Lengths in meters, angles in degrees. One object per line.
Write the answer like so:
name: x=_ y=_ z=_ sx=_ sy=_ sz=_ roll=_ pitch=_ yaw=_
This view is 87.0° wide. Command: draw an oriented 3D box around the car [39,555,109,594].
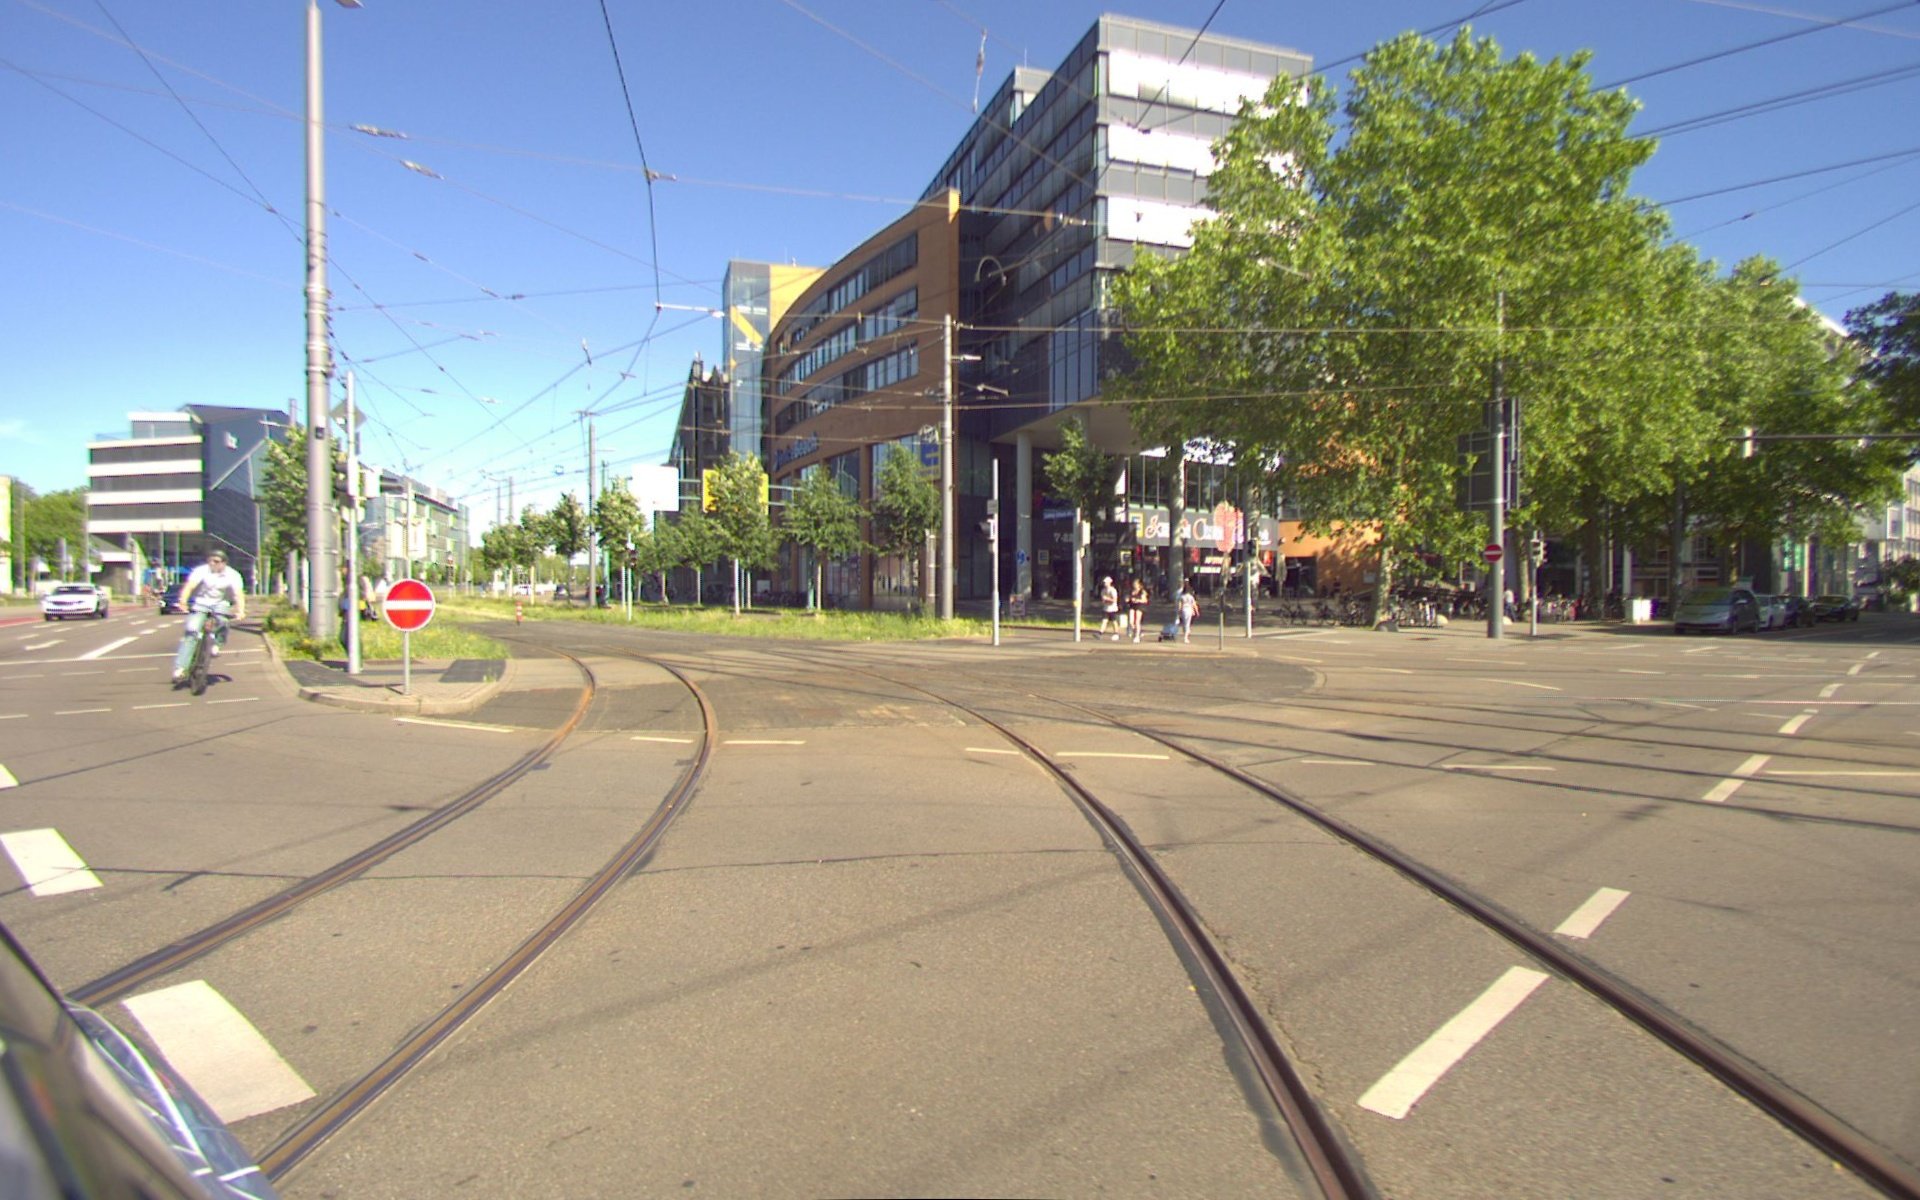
car: x=-40.012 y=-1.173 z=45.807 sx=1.843 sy=1.642 sz=4.350 roll=0 pitch=2 yaw=-34

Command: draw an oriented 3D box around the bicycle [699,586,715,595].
bicycle: x=-23.562 y=-0.908 z=94.348 sx=1.426 sy=0.825 sz=0.447 roll=0 pitch=1 yaw=-25

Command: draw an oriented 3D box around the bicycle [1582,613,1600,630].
bicycle: x=29.848 y=1.013 z=47.863 sx=0.445 sy=0.788 sz=1.473 roll=1 pitch=1 yaw=44

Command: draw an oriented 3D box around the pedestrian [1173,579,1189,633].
pedestrian: x=7.620 y=0.204 z=34.902 sx=0.455 sy=1.845 sz=0.459 roll=1 pitch=0 yaw=18

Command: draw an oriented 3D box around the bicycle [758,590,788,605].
bicycle: x=-14.152 y=-0.183 z=76.711 sx=2.142 sy=1.131 sz=0.756 roll=0 pitch=1 yaw=-25

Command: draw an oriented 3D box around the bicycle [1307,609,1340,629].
bicycle: x=14.509 y=0.748 z=40.340 sx=2.000 sy=0.805 sz=0.376 roll=0 pitch=1 yaw=-44

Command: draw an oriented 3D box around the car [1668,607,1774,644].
car: x=27.945 y=0.896 z=37.125 sx=3.934 sy=1.240 sz=2.005 roll=0 pitch=1 yaw=-35

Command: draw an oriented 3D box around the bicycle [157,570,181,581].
bicycle: x=-74.834 y=-2.272 z=95.742 sx=1.678 sy=0.961 sz=0.699 roll=2 pitch=-1 yaw=-20

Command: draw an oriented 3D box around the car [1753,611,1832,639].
car: x=37.754 y=1.110 z=45.875 sx=3.934 sy=1.152 sz=1.786 roll=0 pitch=1 yaw=-36

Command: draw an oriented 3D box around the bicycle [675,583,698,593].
bicycle: x=-26.927 y=-1.164 z=99.547 sx=2.142 sy=0.961 sz=0.494 roll=0 pitch=1 yaw=-25

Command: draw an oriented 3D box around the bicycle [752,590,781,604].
bicycle: x=-15.385 y=-0.237 z=80.459 sx=2.142 sy=1.131 sz=0.756 roll=0 pitch=1 yaw=-25

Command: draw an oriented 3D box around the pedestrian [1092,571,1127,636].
pedestrian: x=4.272 y=0.092 z=28.943 sx=0.750 sy=1.845 sz=0.626 roll=1 pitch=0 yaw=-29

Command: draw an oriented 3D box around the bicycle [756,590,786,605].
bicycle: x=-14.686 y=-0.206 z=78.562 sx=2.142 sy=1.131 sz=0.756 roll=0 pitch=1 yaw=-25

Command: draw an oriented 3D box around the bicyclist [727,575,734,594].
bicyclist: x=-16.860 y=-1.116 z=74.348 sx=0.336 sy=1.387 sz=0.483 roll=1 pitch=2 yaw=-35

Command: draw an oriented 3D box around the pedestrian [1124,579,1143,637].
pedestrian: x=5.570 y=0.250 z=32.472 sx=0.494 sy=1.845 sz=0.579 roll=1 pitch=0 yaw=18

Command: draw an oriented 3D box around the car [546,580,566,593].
car: x=-42.210 y=-1.392 z=105.627 sx=1.408 sy=1.370 sz=3.305 roll=1 pitch=1 yaw=-32

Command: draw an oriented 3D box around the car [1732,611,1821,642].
car: x=32.798 y=1.047 z=40.645 sx=3.934 sy=1.152 sz=1.786 roll=0 pitch=1 yaw=-36

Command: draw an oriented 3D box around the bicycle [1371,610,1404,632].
bicycle: x=16.194 y=0.798 z=38.341 sx=2.000 sy=0.805 sz=0.376 roll=0 pitch=1 yaw=-44

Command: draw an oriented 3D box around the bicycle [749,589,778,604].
bicycle: x=-15.845 y=-0.285 z=81.523 sx=2.142 sy=1.131 sz=0.756 roll=0 pitch=1 yaw=-25

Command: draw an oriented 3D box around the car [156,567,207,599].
car: x=-40.361 y=-0.873 z=52.542 sx=1.843 sy=1.568 sz=4.011 roll=1 pitch=1 yaw=-34

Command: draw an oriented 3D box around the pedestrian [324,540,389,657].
pedestrian: x=-9.380 y=-0.024 z=15.734 sx=0.769 sy=1.766 sz=0.662 roll=1 pitch=1 yaw=43

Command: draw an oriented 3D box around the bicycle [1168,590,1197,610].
bicycle: x=12.983 y=0.017 z=59.160 sx=0.486 sy=1.143 sz=1.808 roll=1 pitch=1 yaw=-35

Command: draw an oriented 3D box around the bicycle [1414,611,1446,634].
bicycle: x=17.534 y=0.832 z=37.750 sx=2.000 sy=0.805 sz=0.376 roll=0 pitch=1 yaw=-44

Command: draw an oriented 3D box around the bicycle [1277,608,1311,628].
bicycle: x=13.501 y=0.716 z=40.872 sx=2.000 sy=0.805 sz=0.376 roll=0 pitch=1 yaw=-44

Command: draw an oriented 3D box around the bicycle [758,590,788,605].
bicycle: x=-14.354 y=-0.192 z=77.654 sx=2.142 sy=1.131 sz=0.756 roll=0 pitch=1 yaw=-25

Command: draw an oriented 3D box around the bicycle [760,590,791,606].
bicycle: x=-13.863 y=-0.148 z=75.931 sx=2.142 sy=1.131 sz=0.756 roll=0 pitch=1 yaw=-25

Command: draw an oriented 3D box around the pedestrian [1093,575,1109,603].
pedestrian: x=8.473 y=-0.661 z=60.651 sx=0.499 sy=1.636 sz=0.790 roll=0 pitch=2 yaw=-34

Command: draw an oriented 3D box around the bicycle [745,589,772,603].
bicycle: x=-17.026 y=-0.357 z=85.571 sx=2.142 sy=1.131 sz=0.756 roll=0 pitch=1 yaw=-25

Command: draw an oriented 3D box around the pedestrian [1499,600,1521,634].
pedestrian: x=24.045 y=0.736 z=44.250 sx=0.638 sy=1.463 sz=0.502 roll=1 pitch=0 yaw=-8

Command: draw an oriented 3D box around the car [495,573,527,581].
car: x=-62.157 y=-3.174 z=140.164 sx=3.930 sy=1.098 sz=2.007 roll=1 pitch=1 yaw=-22

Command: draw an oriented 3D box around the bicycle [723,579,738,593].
bicycle: x=-16.865 y=-1.032 z=74.363 sx=0.348 sy=0.933 sz=1.900 roll=1 pitch=2 yaw=-35

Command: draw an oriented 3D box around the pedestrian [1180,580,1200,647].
pedestrian: x=6.416 y=0.368 z=28.214 sx=0.461 sy=1.845 sz=0.383 roll=1 pitch=0 yaw=24

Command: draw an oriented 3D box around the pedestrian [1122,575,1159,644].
pedestrian: x=4.924 y=0.252 z=27.645 sx=0.750 sy=1.845 sz=0.627 roll=1 pitch=0 yaw=-25

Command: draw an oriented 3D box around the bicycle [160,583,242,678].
bicycle: x=-9.656 y=0.335 z=12.949 sx=0.677 sy=1.077 sz=2.704 roll=-1 pitch=2 yaw=-34

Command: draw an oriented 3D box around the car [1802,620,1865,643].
car: x=49.316 y=1.763 z=57.109 sx=3.934 sy=1.152 sz=1.786 roll=0 pitch=1 yaw=-36

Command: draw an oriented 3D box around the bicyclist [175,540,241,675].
bicyclist: x=-9.781 y=0.081 z=13.186 sx=0.609 sy=1.682 sz=1.022 roll=-1 pitch=2 yaw=-34
